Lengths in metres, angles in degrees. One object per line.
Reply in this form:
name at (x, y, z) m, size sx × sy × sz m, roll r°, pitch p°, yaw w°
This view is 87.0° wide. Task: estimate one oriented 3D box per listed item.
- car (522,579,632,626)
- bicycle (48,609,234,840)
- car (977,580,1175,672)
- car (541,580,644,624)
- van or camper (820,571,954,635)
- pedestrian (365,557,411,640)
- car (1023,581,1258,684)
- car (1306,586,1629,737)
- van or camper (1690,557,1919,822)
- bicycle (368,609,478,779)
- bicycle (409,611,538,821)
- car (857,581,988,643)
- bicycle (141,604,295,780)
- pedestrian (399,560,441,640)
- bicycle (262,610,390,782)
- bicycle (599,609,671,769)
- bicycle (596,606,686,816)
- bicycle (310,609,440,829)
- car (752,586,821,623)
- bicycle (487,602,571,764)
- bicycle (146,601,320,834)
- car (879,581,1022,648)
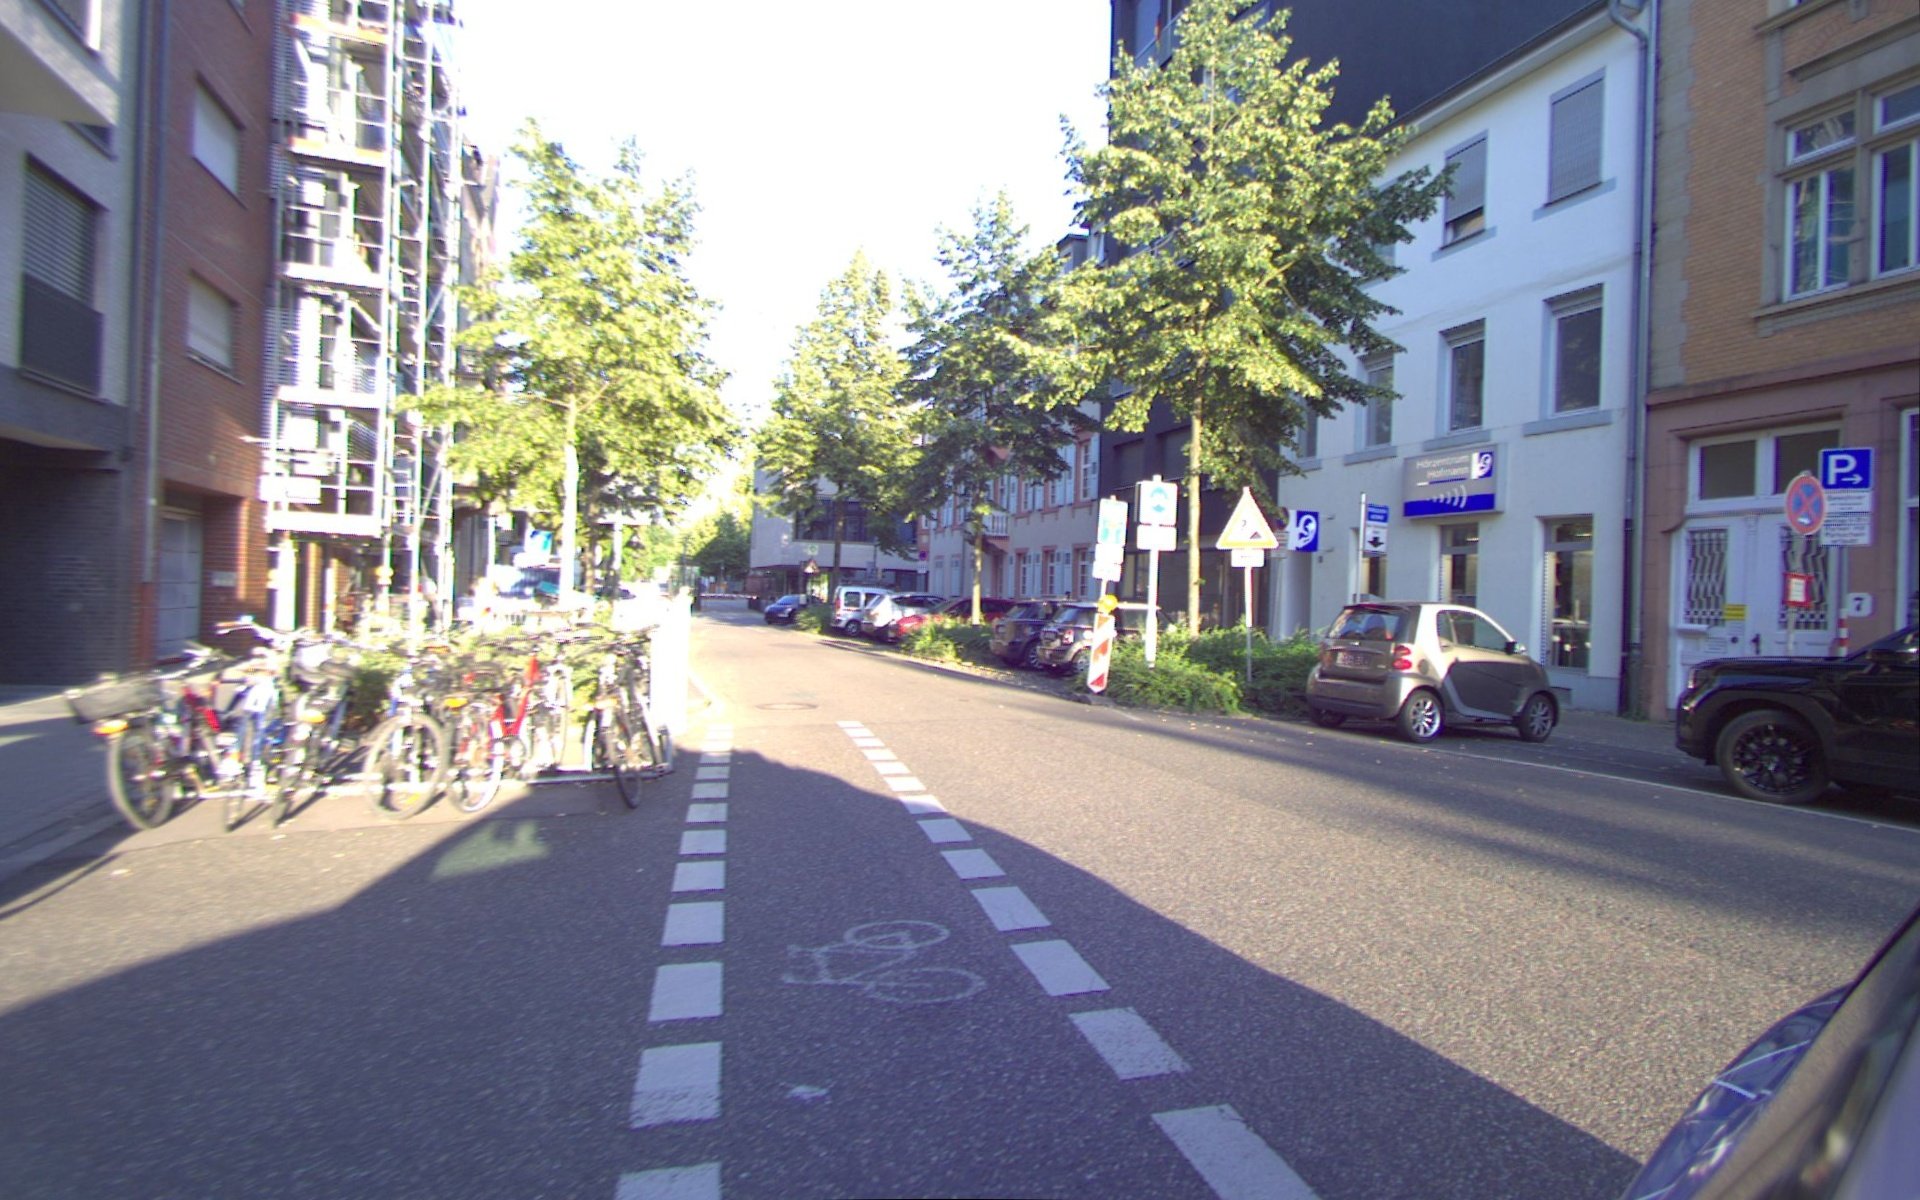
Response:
car at (-15.196, 0.082, 40.372) m, size 3.915 × 1.705 × 1.895 m, roll 2°, pitch 0°, yaw -16°
bicycle at (-4.914, 0.680, 6.157) m, size 0.380 × 1.198 × 1.408 m, roll 2°, pitch 0°, yaw -19°
car at (2.435, 0.545, 21.398) m, size 3.619 × 1.691 × 1.862 m, roll 3°, pitch 0°, yaw -21°
car at (-15.570, 0.071, 43.077) m, size 3.915 × 1.705 × 1.895 m, roll 2°, pitch 0°, yaw -16°
van or camper at (-2.635, 0.102, 36.549) m, size 4.360 × 2.031 × 1.862 m, roll 3°, pitch 0°, yaw -21°
pedestrian at (-12.697, -0.028, 22.485) m, size 0.728 × 1.806 × 0.658 m, roll 1°, pitch 0°, yaw -19°
car at (3.405, 0.612, 19.207) m, size 3.924 × 1.691 × 1.862 m, roll 3°, pitch 0°, yaw -21°
car at (6.048, 0.702, 12.088) m, size 3.408 × 1.595 × 1.511 m, roll 2°, pitch 0°, yaw -21°
van or camper at (7.816, 0.672, 6.699) m, size 1.856 × 1.830 × 4.469 m, roll 3°, pitch 0°, yaw -24°
bicycle at (-4.198, 0.681, 7.997) m, size 0.478 × 1.164 × 1.555 m, roll 2°, pitch 0°, yaw -19°
bicycle at (-3.131, 0.682, 6.622) m, size 0.409 × 1.171 × 1.555 m, roll 2°, pitch 0°, yaw -14°
car at (-1.187, 0.373, 31.637) m, size 3.619 × 1.691 × 1.862 m, roll 3°, pitch 0°, yaw -21°
bicycle at (-5.519, 0.629, 7.613) m, size 0.449 × 1.146 × 1.555 m, roll 2°, pitch 0°, yaw -19°
pedestrian at (-12.433, -0.005, 23.305) m, size 0.728 × 1.806 × 0.658 m, roll 1°, pitch 0°, yaw -20°
bicycle at (-4.885, 0.687, 7.884) m, size 0.459 × 1.158 × 1.555 m, roll 2°, pitch 0°, yaw -19°
bicycle at (-2.782, 0.700, 8.634) m, size 0.498 × 1.193 × 1.555 m, roll 2°, pitch 0°, yaw -19°
bicycle at (-2.201, 0.688, 6.954) m, size 0.488 × 1.236 × 1.555 m, roll 2°, pitch 0°, yaw -19°
bicycle at (-3.637, 0.668, 6.382) m, size 0.374 × 1.174 × 1.555 m, roll 2°, pitch 0°, yaw -19°
car at (-8.225, 0.237, 48.277) m, size 1.831 × 1.588 × 3.680 m, roll 3°, pitch 0°, yaw 14°
bicycle at (-3.527, 0.626, 8.369) m, size 0.478 × 1.178 × 1.555 m, roll 2°, pitch 0°, yaw -19°
bicycle at (-4.350, 0.629, 6.153) m, size 0.379 × 1.204 × 1.555 m, roll 2°, pitch 0°, yaw -19°
car at (-0.277, 0.414, 29.168) m, size 3.619 × 1.691 × 1.862 m, roll 3°, pitch 0°, yaw -21°
